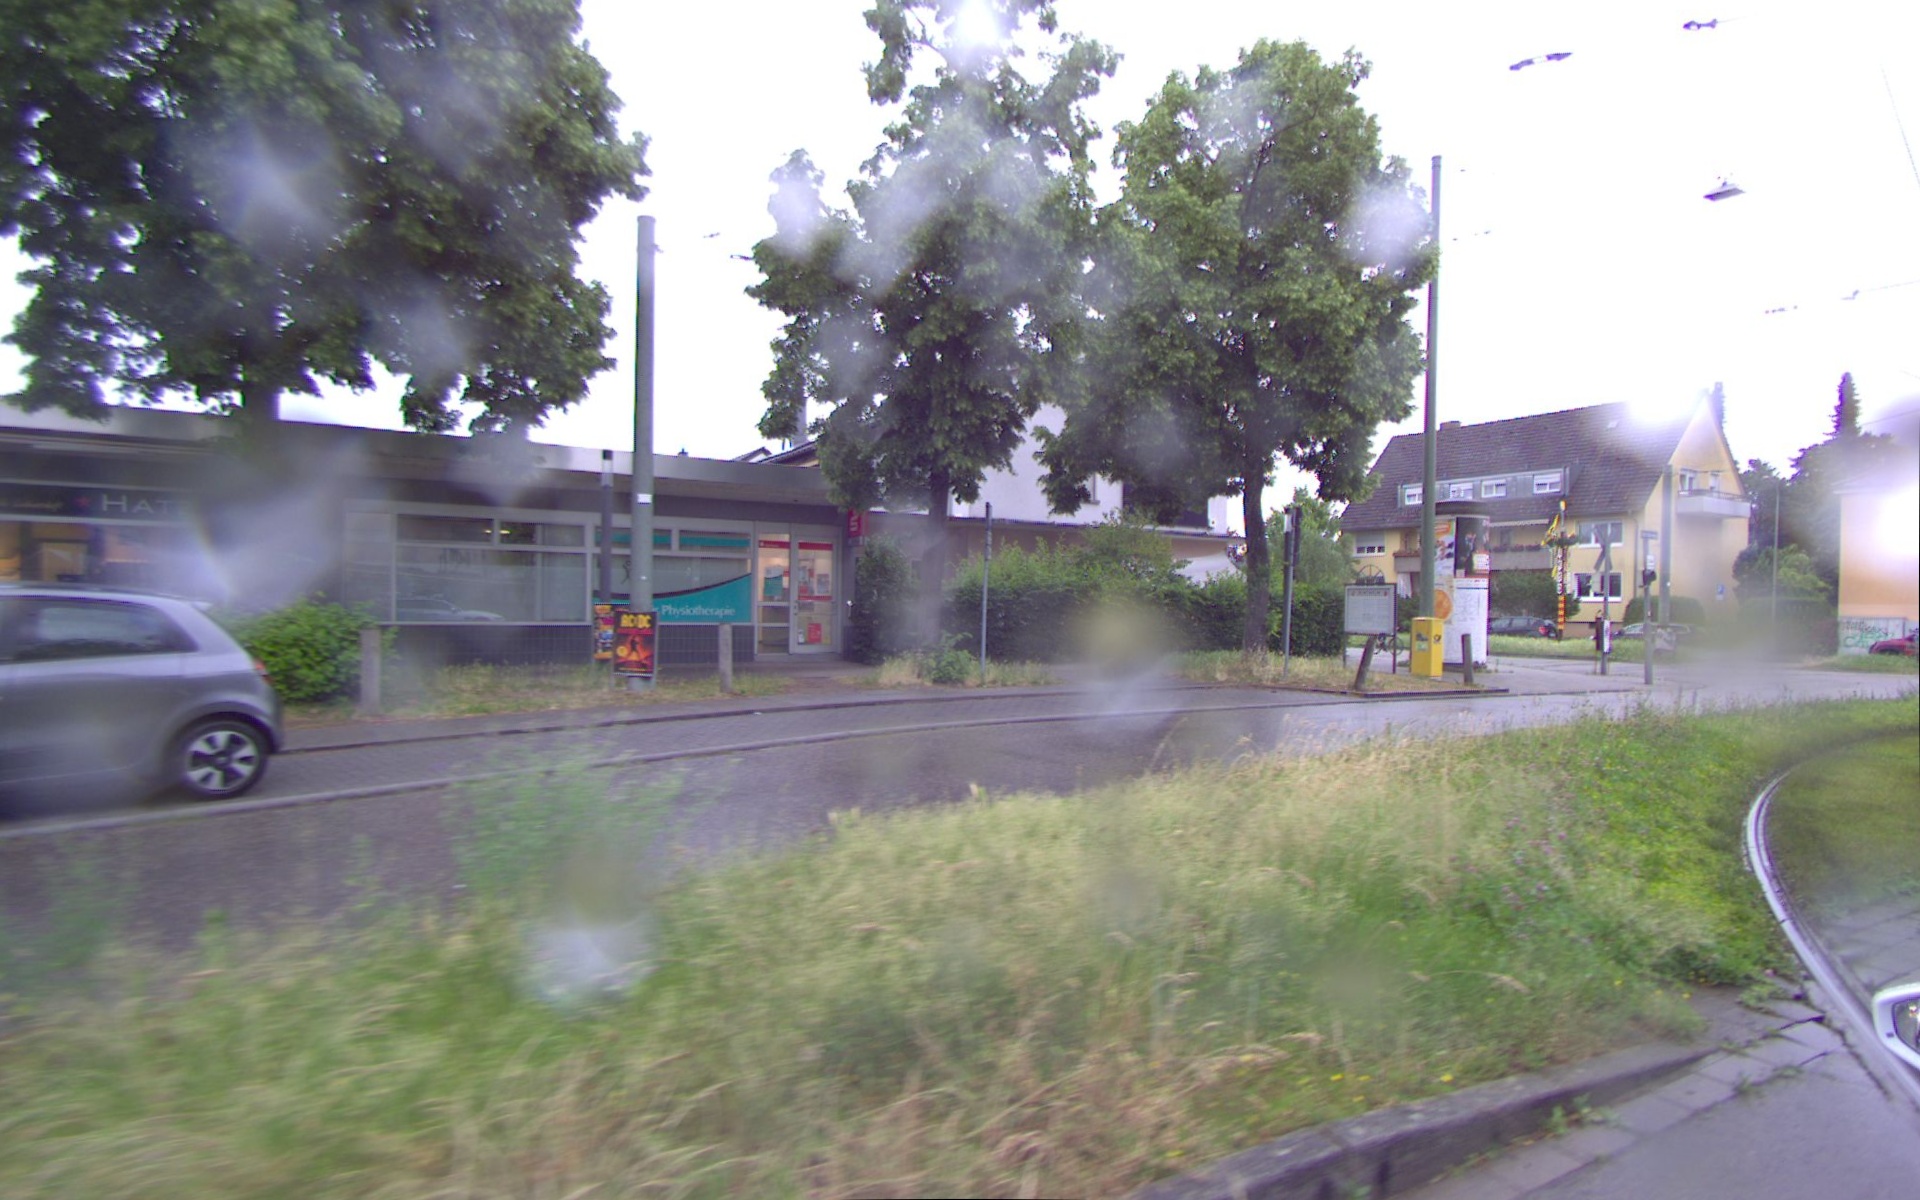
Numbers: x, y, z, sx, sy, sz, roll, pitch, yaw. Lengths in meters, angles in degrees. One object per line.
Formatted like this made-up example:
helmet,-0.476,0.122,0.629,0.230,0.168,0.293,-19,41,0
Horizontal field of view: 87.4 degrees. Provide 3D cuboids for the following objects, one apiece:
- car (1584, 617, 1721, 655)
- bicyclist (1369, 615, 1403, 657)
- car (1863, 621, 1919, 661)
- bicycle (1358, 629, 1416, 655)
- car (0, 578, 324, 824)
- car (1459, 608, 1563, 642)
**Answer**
car,29.746,1.520,43.300,1.946,1.415,4.464,1,0,-33
bicyclist,16.828,1.421,39.659,0.825,1.579,0.905,2,0,-34
car,34.904,1.516,35.891,1.705,1.357,3.583,1,2,-34
bicycle,16.830,1.645,39.630,0.815,0.924,1.967,2,0,-34
car,-6.638,0.630,6.868,1.530,1.523,3.603,3,2,42
car,26.146,1.172,47.796,1.742,1.350,3.962,1,2,-34
